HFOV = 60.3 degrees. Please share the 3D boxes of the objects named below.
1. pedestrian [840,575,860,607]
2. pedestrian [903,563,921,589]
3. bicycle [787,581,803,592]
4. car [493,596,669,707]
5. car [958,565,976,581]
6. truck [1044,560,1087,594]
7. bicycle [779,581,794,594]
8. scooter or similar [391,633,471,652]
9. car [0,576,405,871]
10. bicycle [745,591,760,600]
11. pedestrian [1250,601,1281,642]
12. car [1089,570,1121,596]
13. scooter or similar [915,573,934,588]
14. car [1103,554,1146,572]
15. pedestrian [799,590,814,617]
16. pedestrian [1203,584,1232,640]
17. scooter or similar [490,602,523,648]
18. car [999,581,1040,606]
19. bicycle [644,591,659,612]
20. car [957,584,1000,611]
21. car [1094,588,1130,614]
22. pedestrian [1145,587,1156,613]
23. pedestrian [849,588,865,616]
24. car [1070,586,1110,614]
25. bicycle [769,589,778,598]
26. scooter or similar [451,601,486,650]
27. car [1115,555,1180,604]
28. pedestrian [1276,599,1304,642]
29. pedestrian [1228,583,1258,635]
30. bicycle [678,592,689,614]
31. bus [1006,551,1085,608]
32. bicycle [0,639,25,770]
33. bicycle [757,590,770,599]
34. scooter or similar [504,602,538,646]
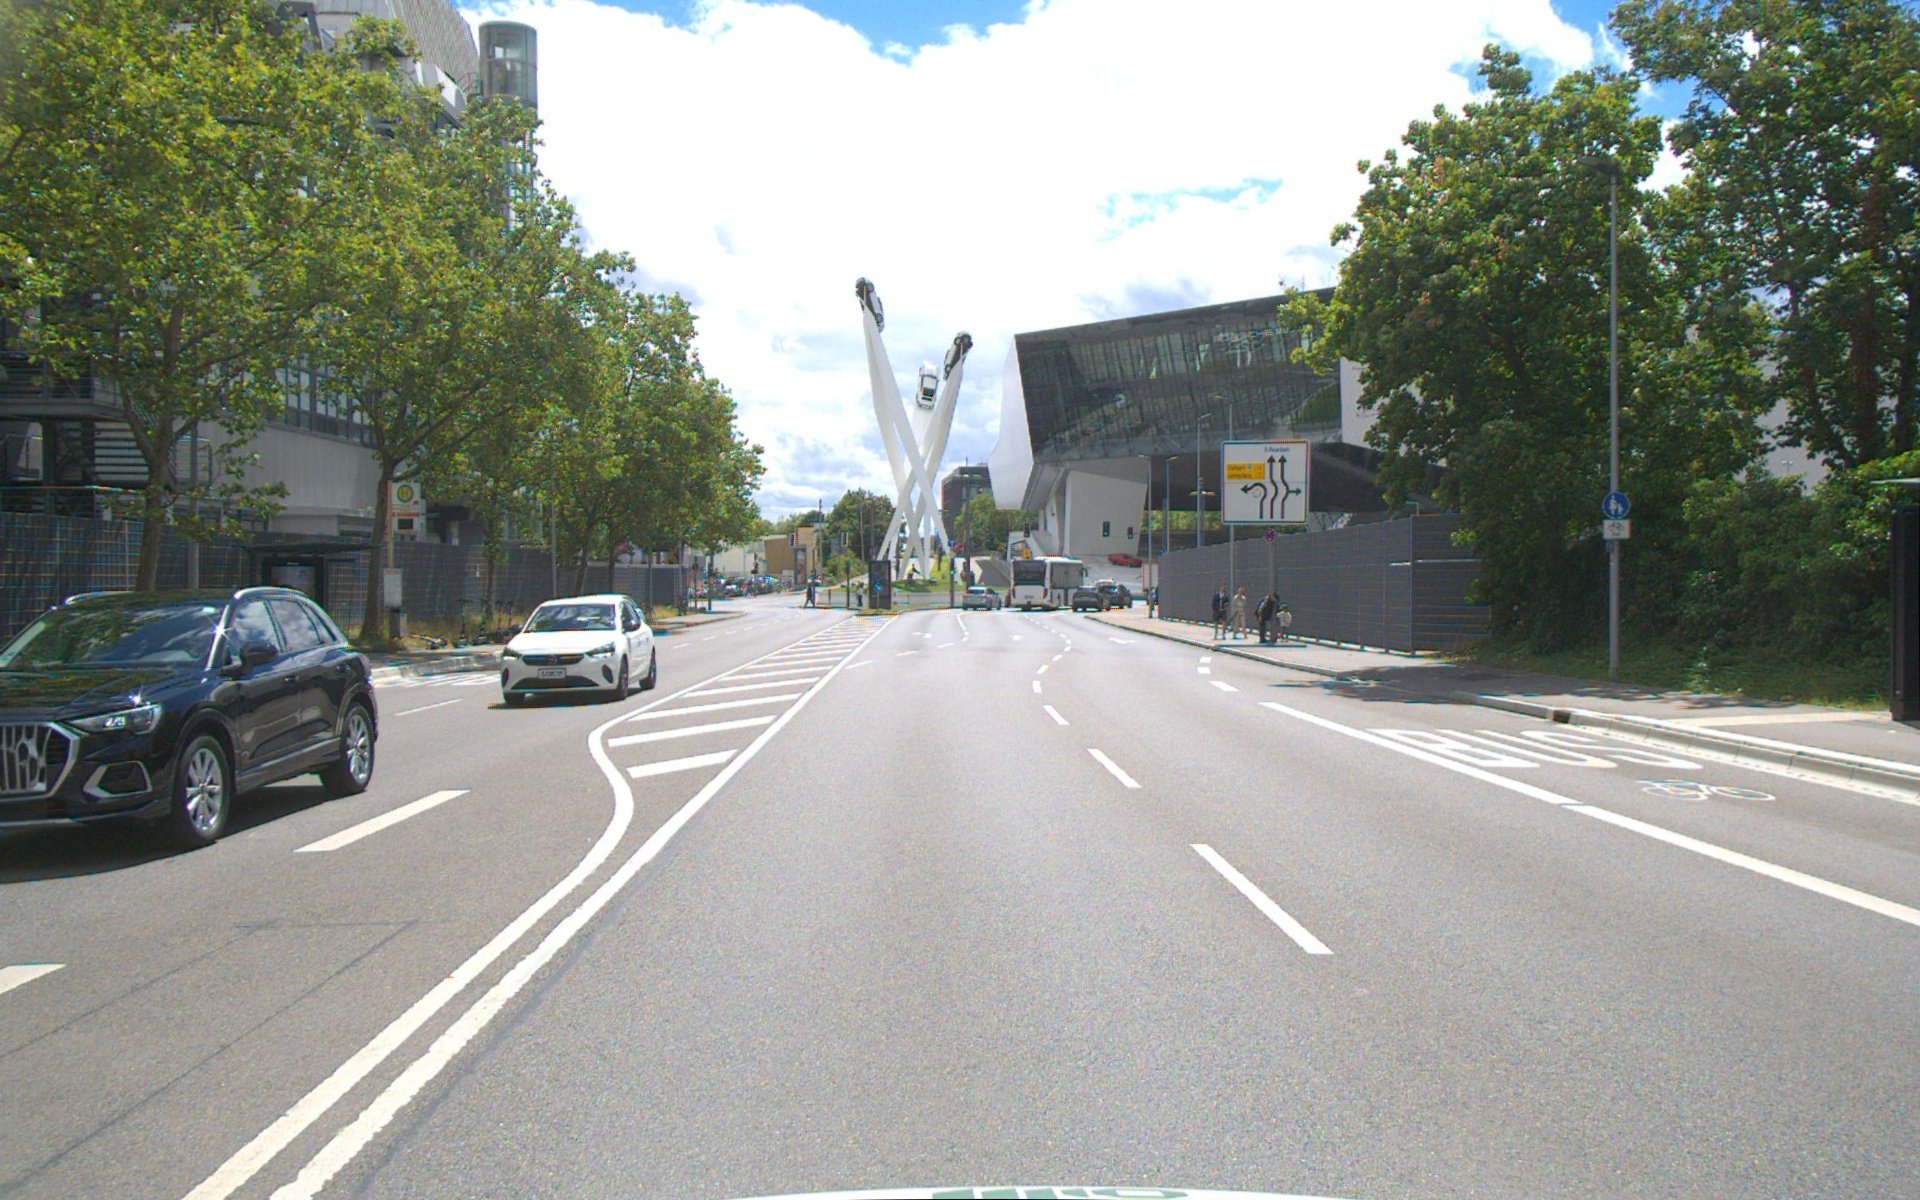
[{"bbox_3d":[-7.253,-0.567,109.095,0.932,2.091,0.951,1,-1,18],"label":"pedestrian"},{"bbox_3d":[-3.698,-1.859,127.557,1.256,1.847,0.986,-3,4,-3],"label":"pedestrian"},{"bbox_3d":[-18.606,-1.547,186.796,1.702,1.202,0.670,1,1,-2],"label":"bicycle"},{"bbox_3d":[-5.526,0.693,24.604,1.657,1.439,4.145,-2,0,-1],"label":"car"},{"bbox_3d":[0.834,-3.104,189.609,1.952,1.664,4.657,1,2,1],"label":"car"},{"bbox_3d":[8.323,-1.785,129.618,2.161,2.560,5.135,1,0,17],"label":"truck"},{"bbox_3d":[-18.657,-1.376,177.683,1.573,1.339,0.492,1,-1,-2],"label":"bicycle"},{"bbox_3d":[-13.806,1.110,43.193,1.337,0.386,1.485,4,1,35],"label":"scooter or similar"},{"bbox_3d":[-5.400,0.705,11.350,1.704,1.608,4.266,-2,0,0],"label":"car"},{"bbox_3d":[-21.442,-0.474,170.958,0.483,0.881,1.603,0,2,39],"label":"bicycle"},{"bbox_3d":[8.978,0.629,48.647,0.742,1.169,0.972,1,-1,2],"label":"pedestrian"},{"bbox_3d":[11.543,-1.325,131.518,1.951,1.966,4.244,1,0,12],"label":"car"},{"bbox_3d":[-2.750,-1.529,127.874,1.372,1.043,0.550,-2,6,-3],"label":"scooter or similar"},{"bbox_3d":[18.098,-4.112,182.203,1.985,1.418,4.443,-5,11,-43],"label":"car"},{"bbox_3d":[-10.217,0.239,110.260,0.848,1.805,1.031,1,-1,-14],"label":"pedestrian"},{"bbox_3d":[8.112,0.378,52.104,0.778,1.751,0.731,1,-1,-1],"label":"pedestrian"},{"bbox_3d":[-13.262,0.724,48.424,0.512,1.256,1.318,3,1,1],"label":"scooter or similar"},{"bbox_3d":[4.256,-0.437,118.184,1.952,1.665,4.002,1,0,17],"label":"car"},{"bbox_3d":[-14.946,0.075,80.087,0.290,1.023,1.253,1,0,9],"label":"bicycle"},{"bbox_3d":[1.205,-0.152,104.381,1.951,1.665,4.003,1,0,12],"label":"car"},{"bbox_3d":[10.267,0.061,111.692,1.951,1.665,4.003,1,0,12],"label":"car"},{"bbox_3d":[12.421,-0.006,107.657,0.645,1.636,0.823,1,-1,10],"label":"pedestrian"},{"bbox_3d":[-6.611,0.124,106.042,0.848,1.805,1.031,1,-1,-14],"label":"pedestrian"},{"bbox_3d":[8.171,-0.025,103.797,1.951,1.665,4.004,1,2,12],"label":"car"},{"bbox_3d":[-19.769,-0.717,174.929,0.480,0.881,1.613,-1,3,10],"label":"bicycle"},{"bbox_3d":[-13.282,0.677,44.689,0.512,1.256,1.317,3,1,-1],"label":"scooter or similar"},{"bbox_3d":[14.797,-1.559,129.850,3.265,3.565,9.345,1,0,18],"label":"car"},{"bbox_3d":[9.743,0.605,48.841,0.699,1.228,0.599,1,-1,3],"label":"pedestrian"},{"bbox_3d":[8.931,0.289,52.177,0.778,1.625,0.731,1,-1,-1],"label":"pedestrian"},{"bbox_3d":[-14.463,0.178,86.524,0.290,1.151,1.485,1,0,2],"label":"bicycle"},{"bbox_3d":[5.744,-1.227,108.576,3.006,3.421,12.232,1,0,13],"label":"bus"},{"bbox_3d":[-9.614,1.020,15.172,0.721,1.256,2.472,-2,0,-2],"label":"bicycle"},{"bbox_3d":[-20.501,-0.564,172.542,0.481,0.881,1.610,1,4,27],"label":"bicycle"},{"bbox_3d":[-13.211,0.711,49.806,0.512,1.256,1.318,3,1,6],"label":"scooter or similar"}]
